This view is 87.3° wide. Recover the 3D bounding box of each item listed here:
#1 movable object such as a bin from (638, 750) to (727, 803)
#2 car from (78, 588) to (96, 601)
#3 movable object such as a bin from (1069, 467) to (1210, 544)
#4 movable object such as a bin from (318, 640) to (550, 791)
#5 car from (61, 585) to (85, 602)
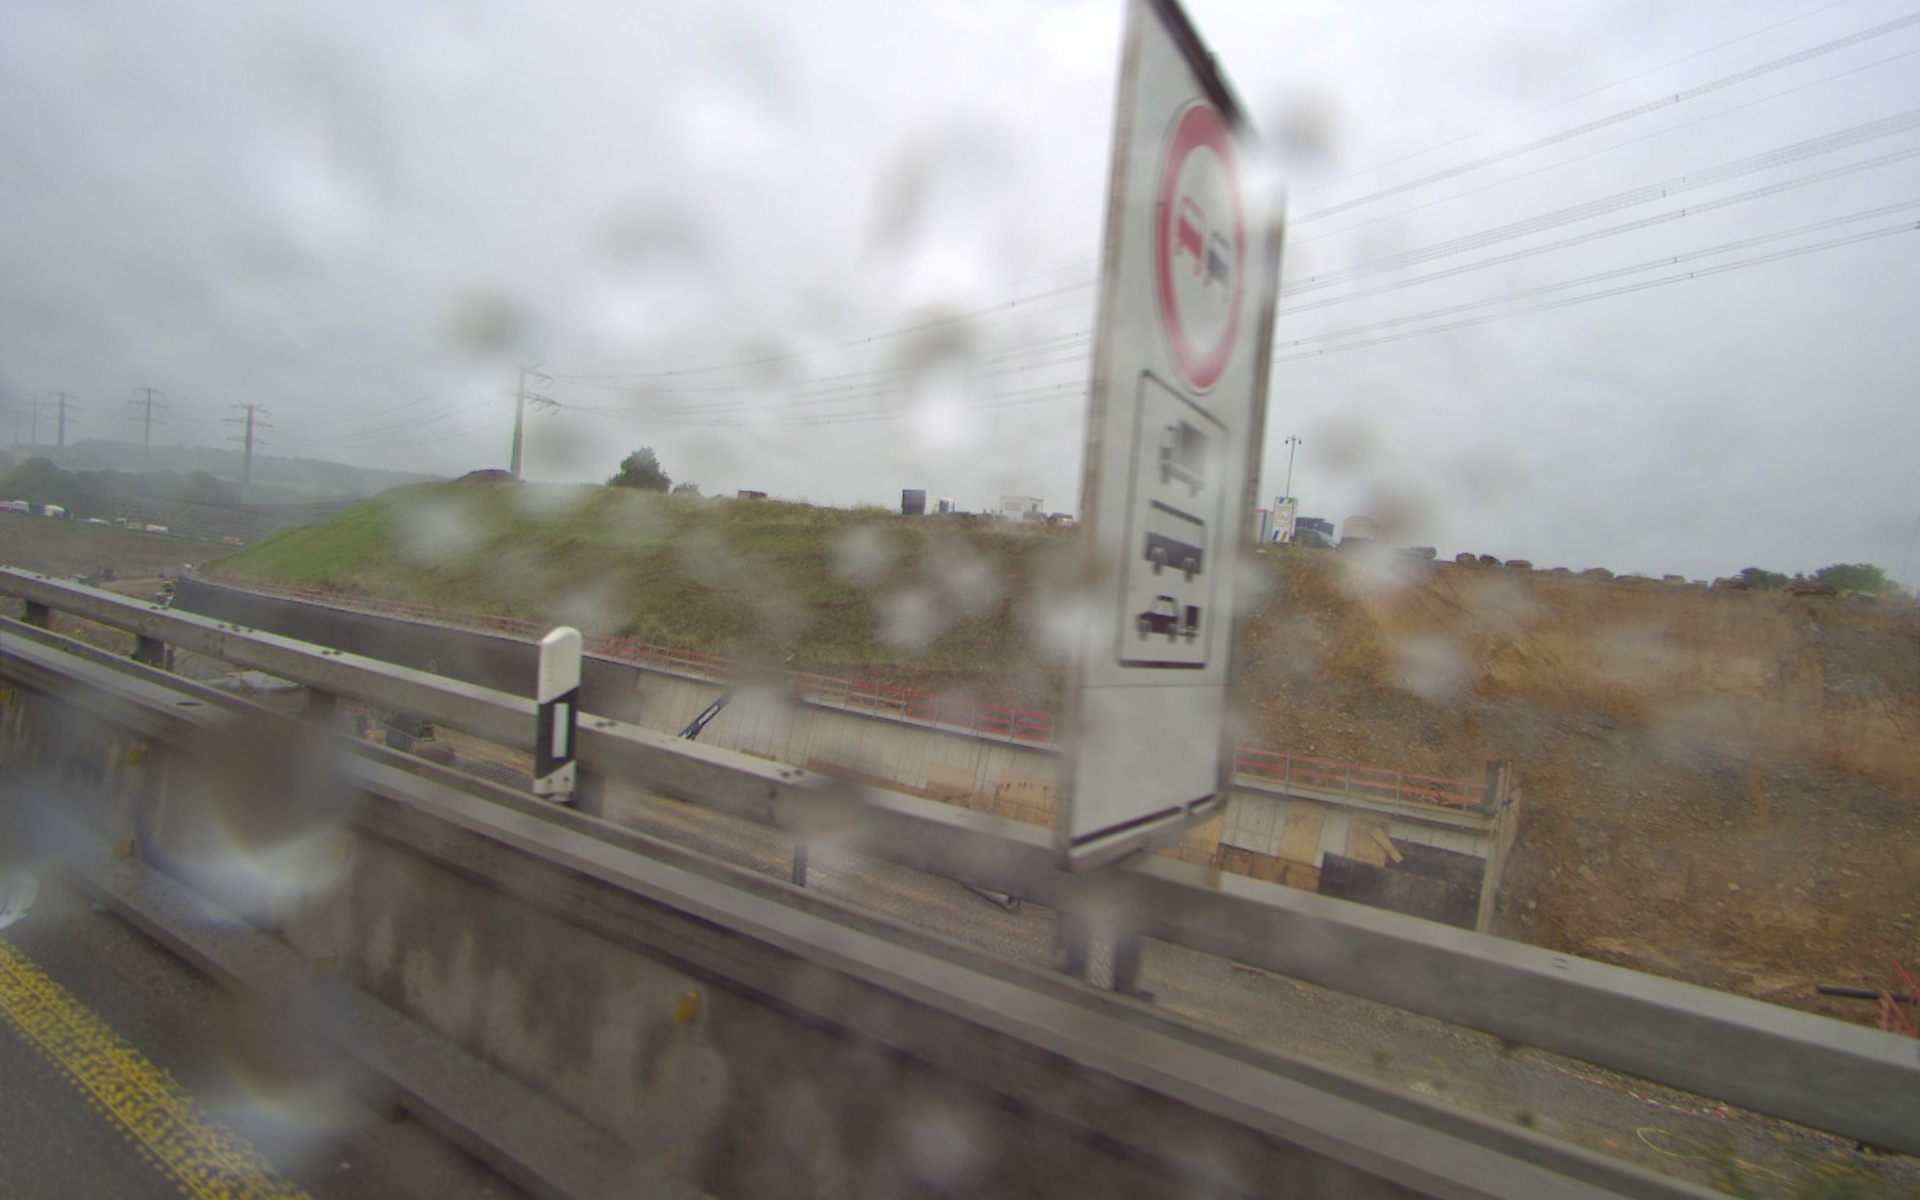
[{"bbox_3d":[-13.590,8.602,49.264,3.203,1.932,2.522,6,-3,31],"label":"movable object such as a bin"},{"bbox_3d":[-148.862,-0.932,171.581,1.988,1.837,3.950,7,-1,-44],"label":"car"},{"bbox_3d":[11.456,-6.137,64.795,8.057,4.260,3.096,7,1,38],"label":"movable object such as a bin"},{"bbox_3d":[-25.660,5.363,48.746,11.913,5.732,4.897,3,-4,37],"label":"movable object such as a bin"},{"bbox_3d":[-138.191,-1.047,156.705,3.947,2.037,2.361,6,-2,43],"label":"car"}]
